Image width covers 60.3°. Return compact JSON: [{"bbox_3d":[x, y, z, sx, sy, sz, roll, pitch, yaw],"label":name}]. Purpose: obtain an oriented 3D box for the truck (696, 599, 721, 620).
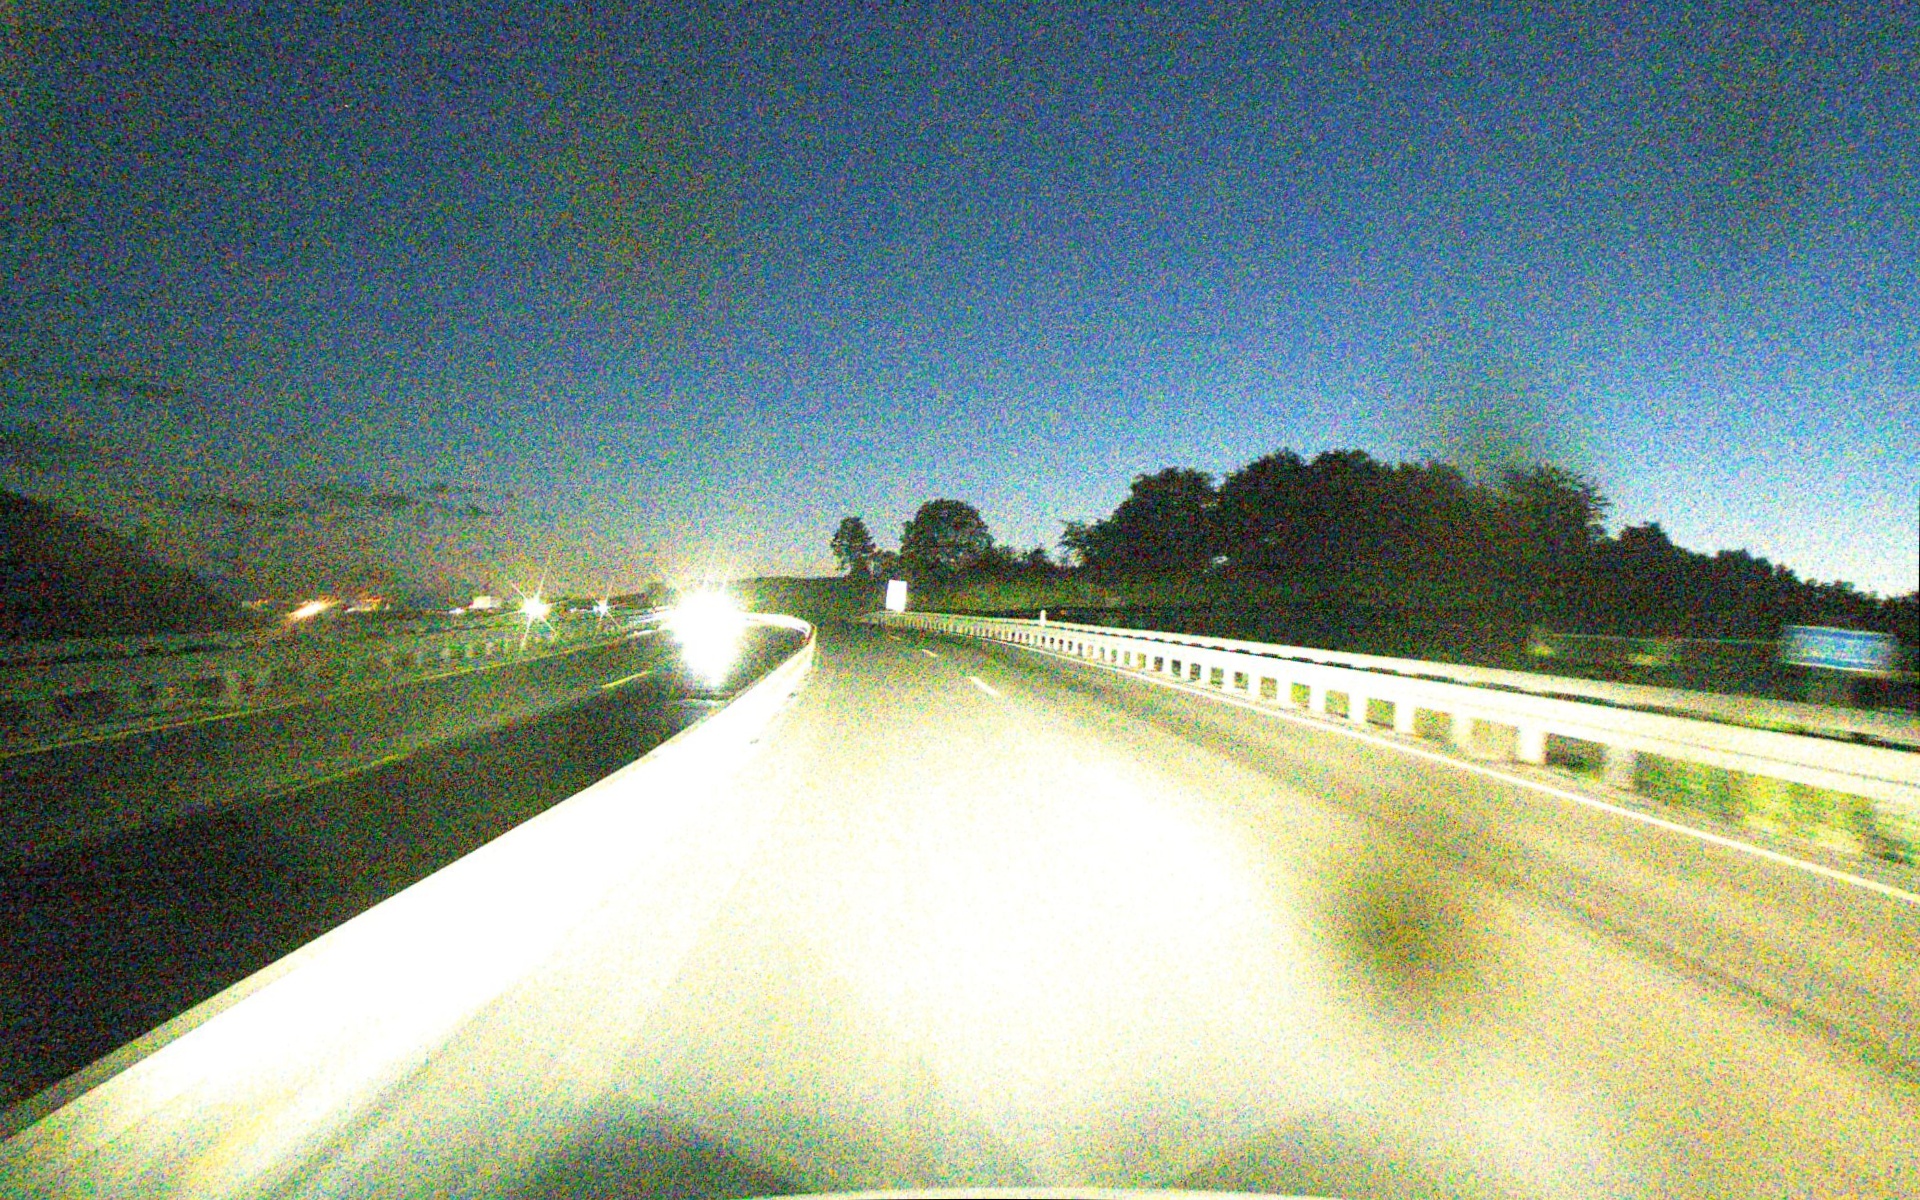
[{"bbox_3d":[-18.408,0.721,121.121,1.653,1.495,4.142,1,-1,-11],"label":"truck"}]
